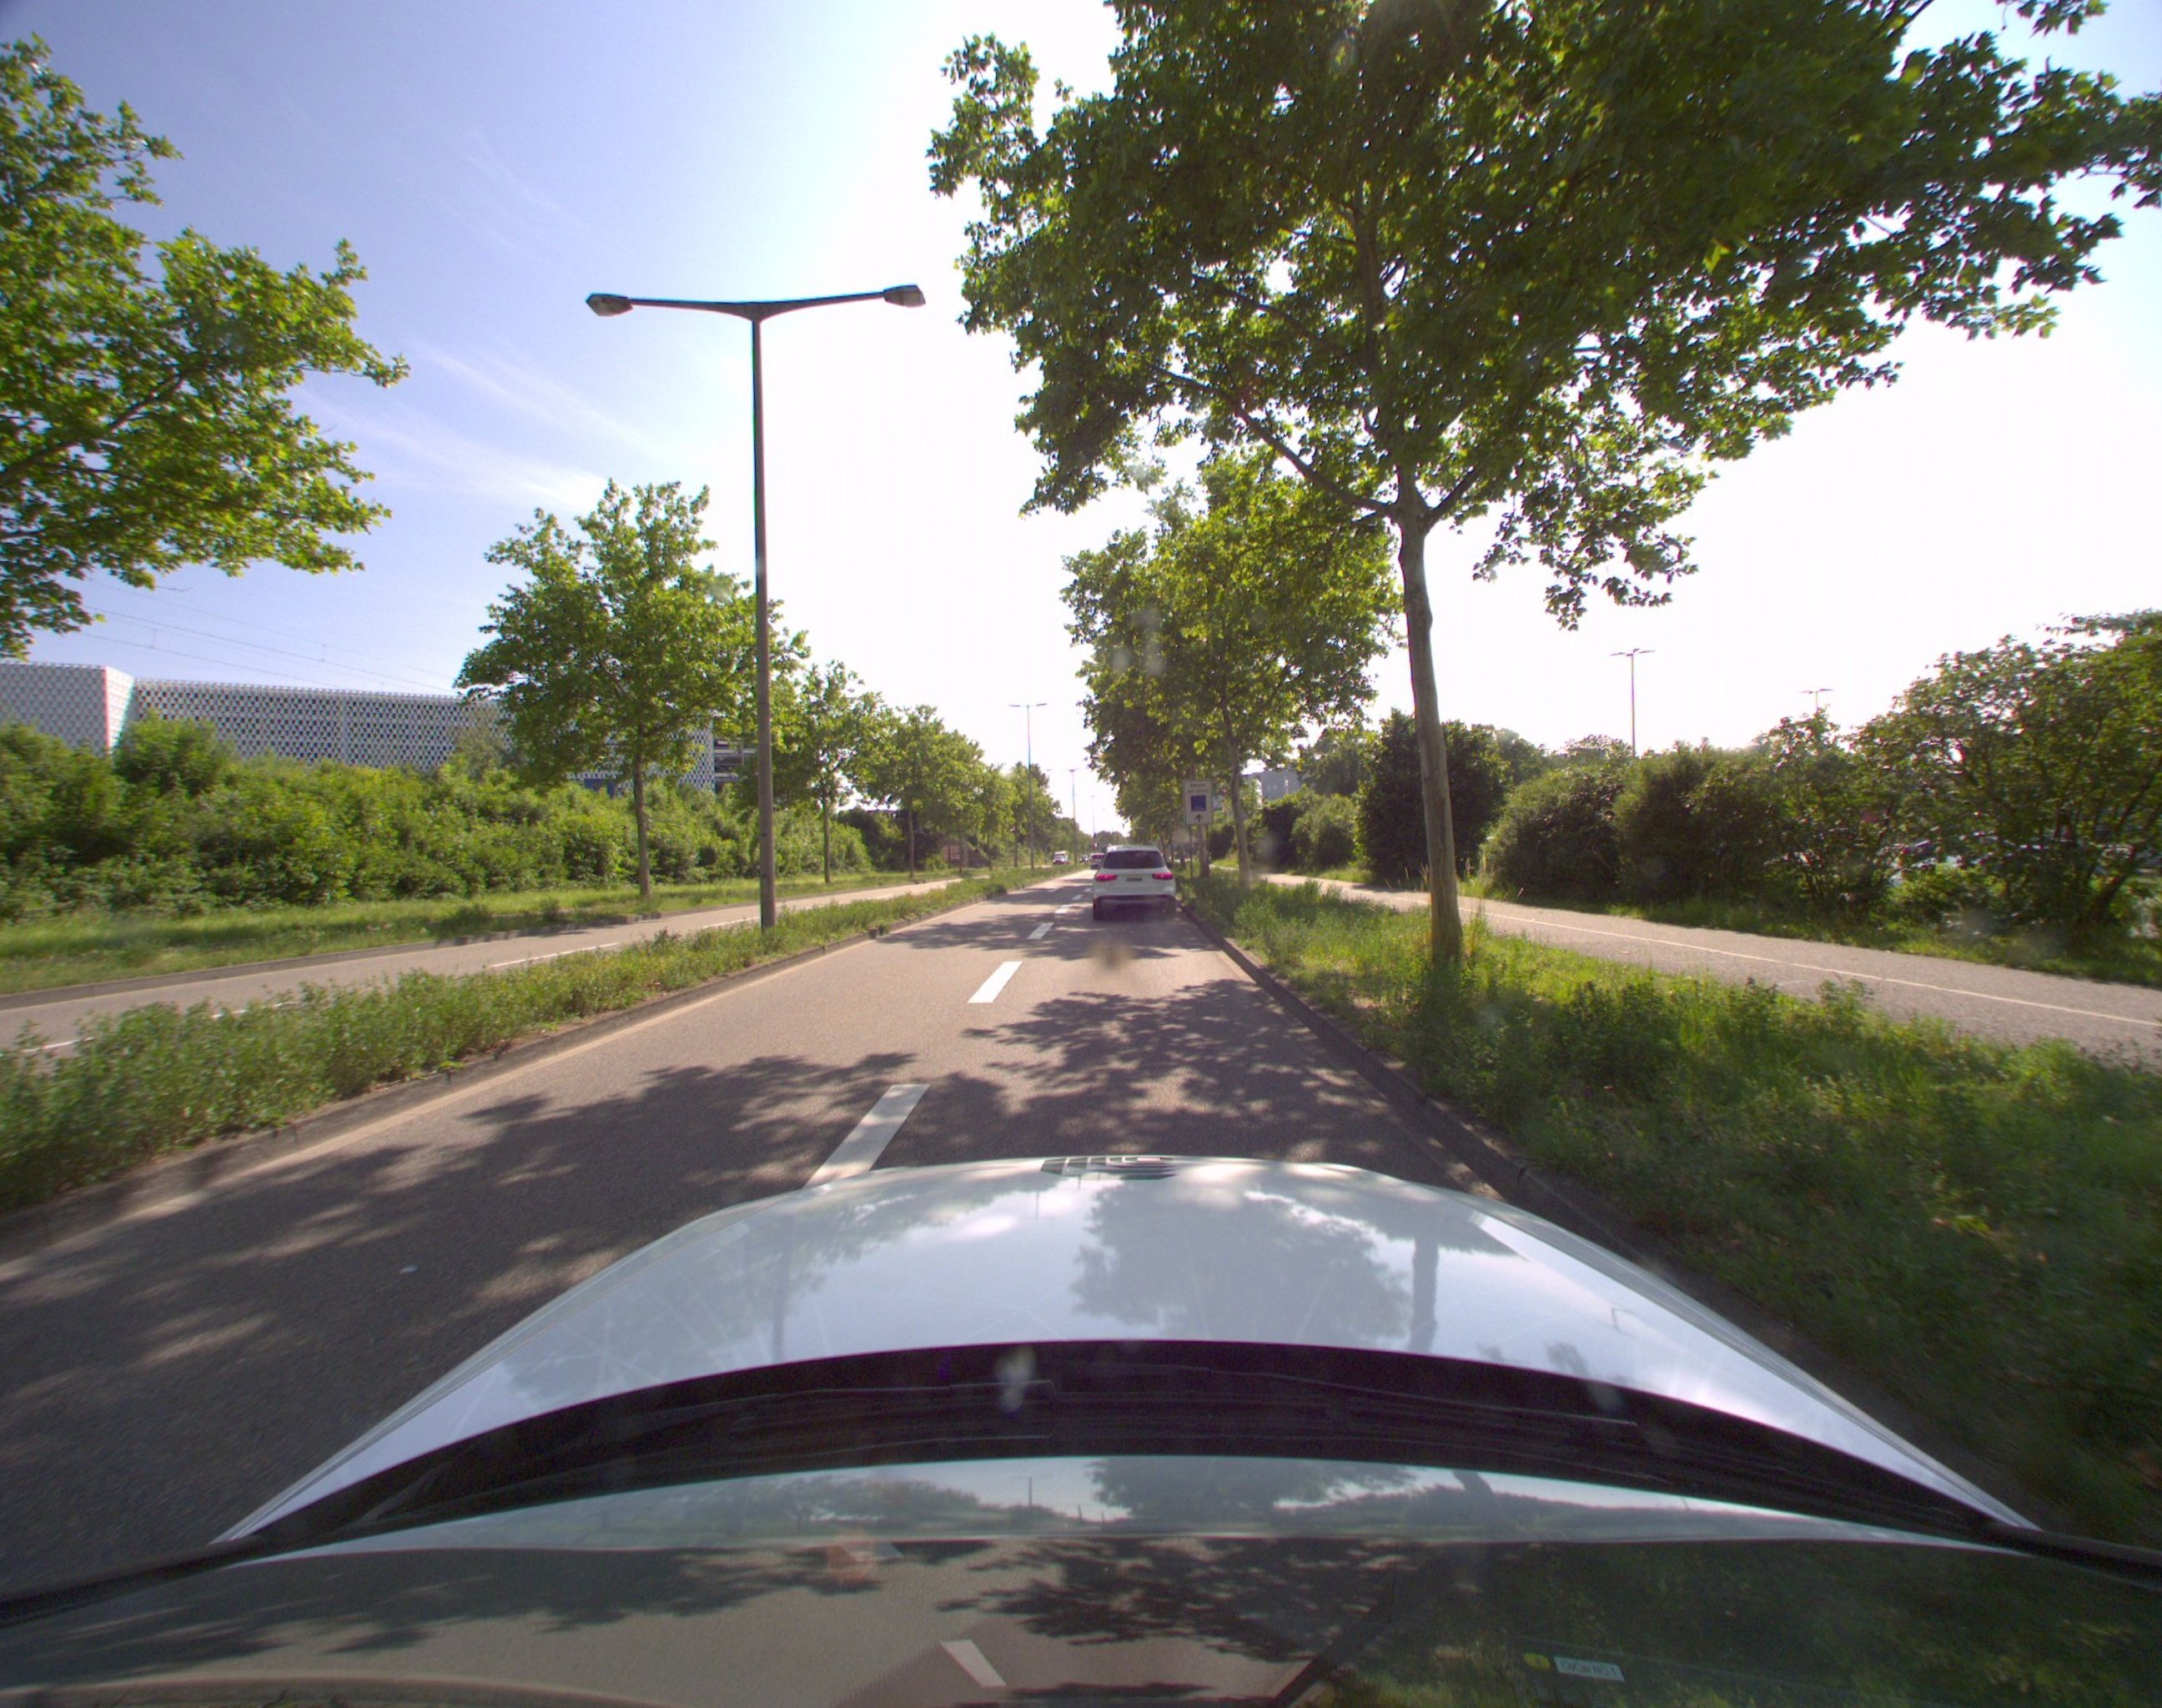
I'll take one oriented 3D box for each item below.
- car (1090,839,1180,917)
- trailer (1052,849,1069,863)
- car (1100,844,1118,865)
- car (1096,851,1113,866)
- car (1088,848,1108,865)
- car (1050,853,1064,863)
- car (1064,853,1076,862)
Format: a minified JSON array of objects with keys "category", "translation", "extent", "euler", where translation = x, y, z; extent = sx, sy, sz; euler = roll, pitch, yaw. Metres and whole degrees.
[{"category":"car","translation":[1.164,0.505,19.051],"extent":[1.847,1.607,4.000],"euler":[-1,0,0]},{"category":"trailer","translation":[-3.471,0.362,138.201],"extent":[2.298,2.265,5.545],"euler":[-2,-1,4]},{"category":"car","translation":[3.798,0.087,109.379],"extent":[2.072,2.656,4.880],"euler":[-1,0,4]},{"category":"car","translation":[2.687,0.567,93.139],"extent":[1.763,1.647,4.089],"euler":[-1,0,4]},{"category":"car","translation":[1.764,0.252,84.054],"extent":[1.763,1.647,4.357],"euler":[-1,0,4]},{"category":"car","translation":[-3.932,0.636,133.263],"extent":[1.707,1.622,4.366],"euler":[-2,-1,4]},{"category":"car","translation":[-2.195,0.639,162.614],"extent":[1.756,1.790,5.382],"euler":[0,0,4]}]
